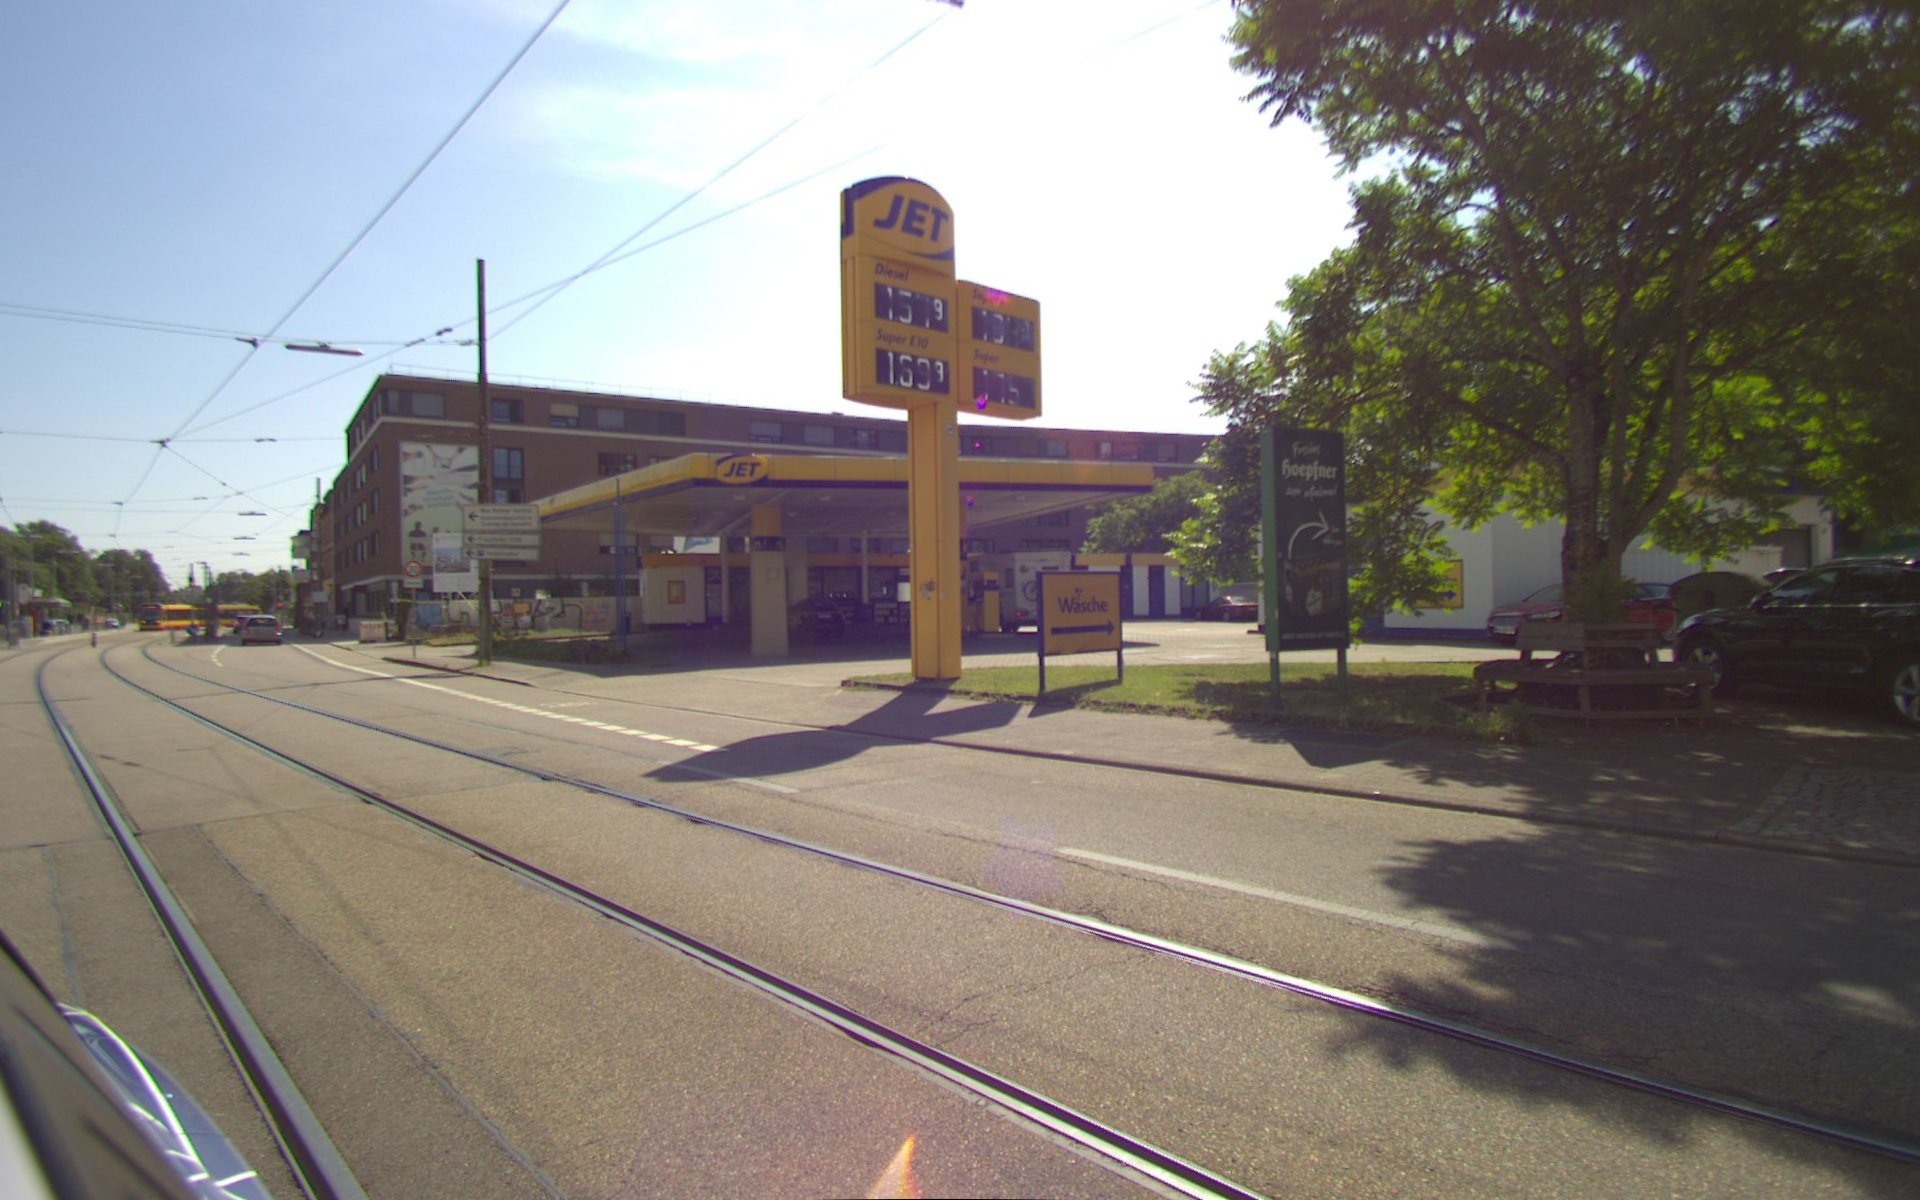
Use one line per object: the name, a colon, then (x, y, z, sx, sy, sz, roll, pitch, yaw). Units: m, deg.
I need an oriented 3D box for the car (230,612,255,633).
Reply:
car: (-66.985, 2.107, 94.487, 1.777, 1.742, 4.198, -3, 0, -36)

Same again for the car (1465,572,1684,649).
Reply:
car: (13.722, 0.199, 22.646, 4.100, 1.538, 1.943, -1, 0, -18)

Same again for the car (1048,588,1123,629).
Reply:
car: (6.094, 0.370, 49.644, 1.748, 1.775, 4.489, -3, 2, -20)

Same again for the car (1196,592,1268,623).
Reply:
car: (13.979, 0.378, 52.153, 1.711, 1.470, 3.574, -1, 0, -24)

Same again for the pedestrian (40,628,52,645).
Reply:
pedestrian: (-70.172, 2.781, 77.687, 0.621, 1.264, 0.711, 0, -1, -37)

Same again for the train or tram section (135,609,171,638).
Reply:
train or tram section: (-102.726, 2.949, 129.016, 2.644, 3.507, 13.372, -1, 0, -35)

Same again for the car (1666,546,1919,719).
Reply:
car: (10.043, 0.287, 10.700, 1.922, 1.637, 4.578, -1, 0, 0)

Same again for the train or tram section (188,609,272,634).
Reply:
train or tram section: (-109.741, 3.212, 152.492, 2.653, 3.506, 13.327, -1, 0, 2)

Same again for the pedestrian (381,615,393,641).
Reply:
pedestrian: (-37.007, 1.821, 65.374, 0.573, 1.677, 0.701, -1, -1, -38)

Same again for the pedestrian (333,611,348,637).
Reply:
pedestrian: (-44.856, 1.755, 73.309, 0.833, 1.832, 0.840, -1, -1, -36)

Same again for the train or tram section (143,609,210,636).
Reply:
train or tram section: (-108.282, 3.101, 140.176, 2.643, 3.506, 13.377, -1, 0, -16)

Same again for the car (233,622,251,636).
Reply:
car: (-81.039, 3.233, 114.188, 1.604, 1.480, 3.874, -1, -1, -36)

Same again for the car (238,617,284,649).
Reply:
car: (-36.761, 1.717, 53.203, 1.723, 1.583, 3.899, 0, -1, -38)

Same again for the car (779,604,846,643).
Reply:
car: (-5.728, 0.850, 38.862, 1.673, 1.313, 4.404, -3, 1, -19)

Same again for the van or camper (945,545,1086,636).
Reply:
van or camper: (1.925, -0.374, 38.322, 2.571, 2.989, 6.735, -4, 2, -21)

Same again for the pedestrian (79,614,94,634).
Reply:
pedestrian: (-81.429, 2.216, 94.332, 0.968, 1.872, 1.240, 0, -1, -36)

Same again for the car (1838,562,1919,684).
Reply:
car: (12.654, 0.257, 11.157, 1.922, 1.479, 4.578, -1, 0, 0)
